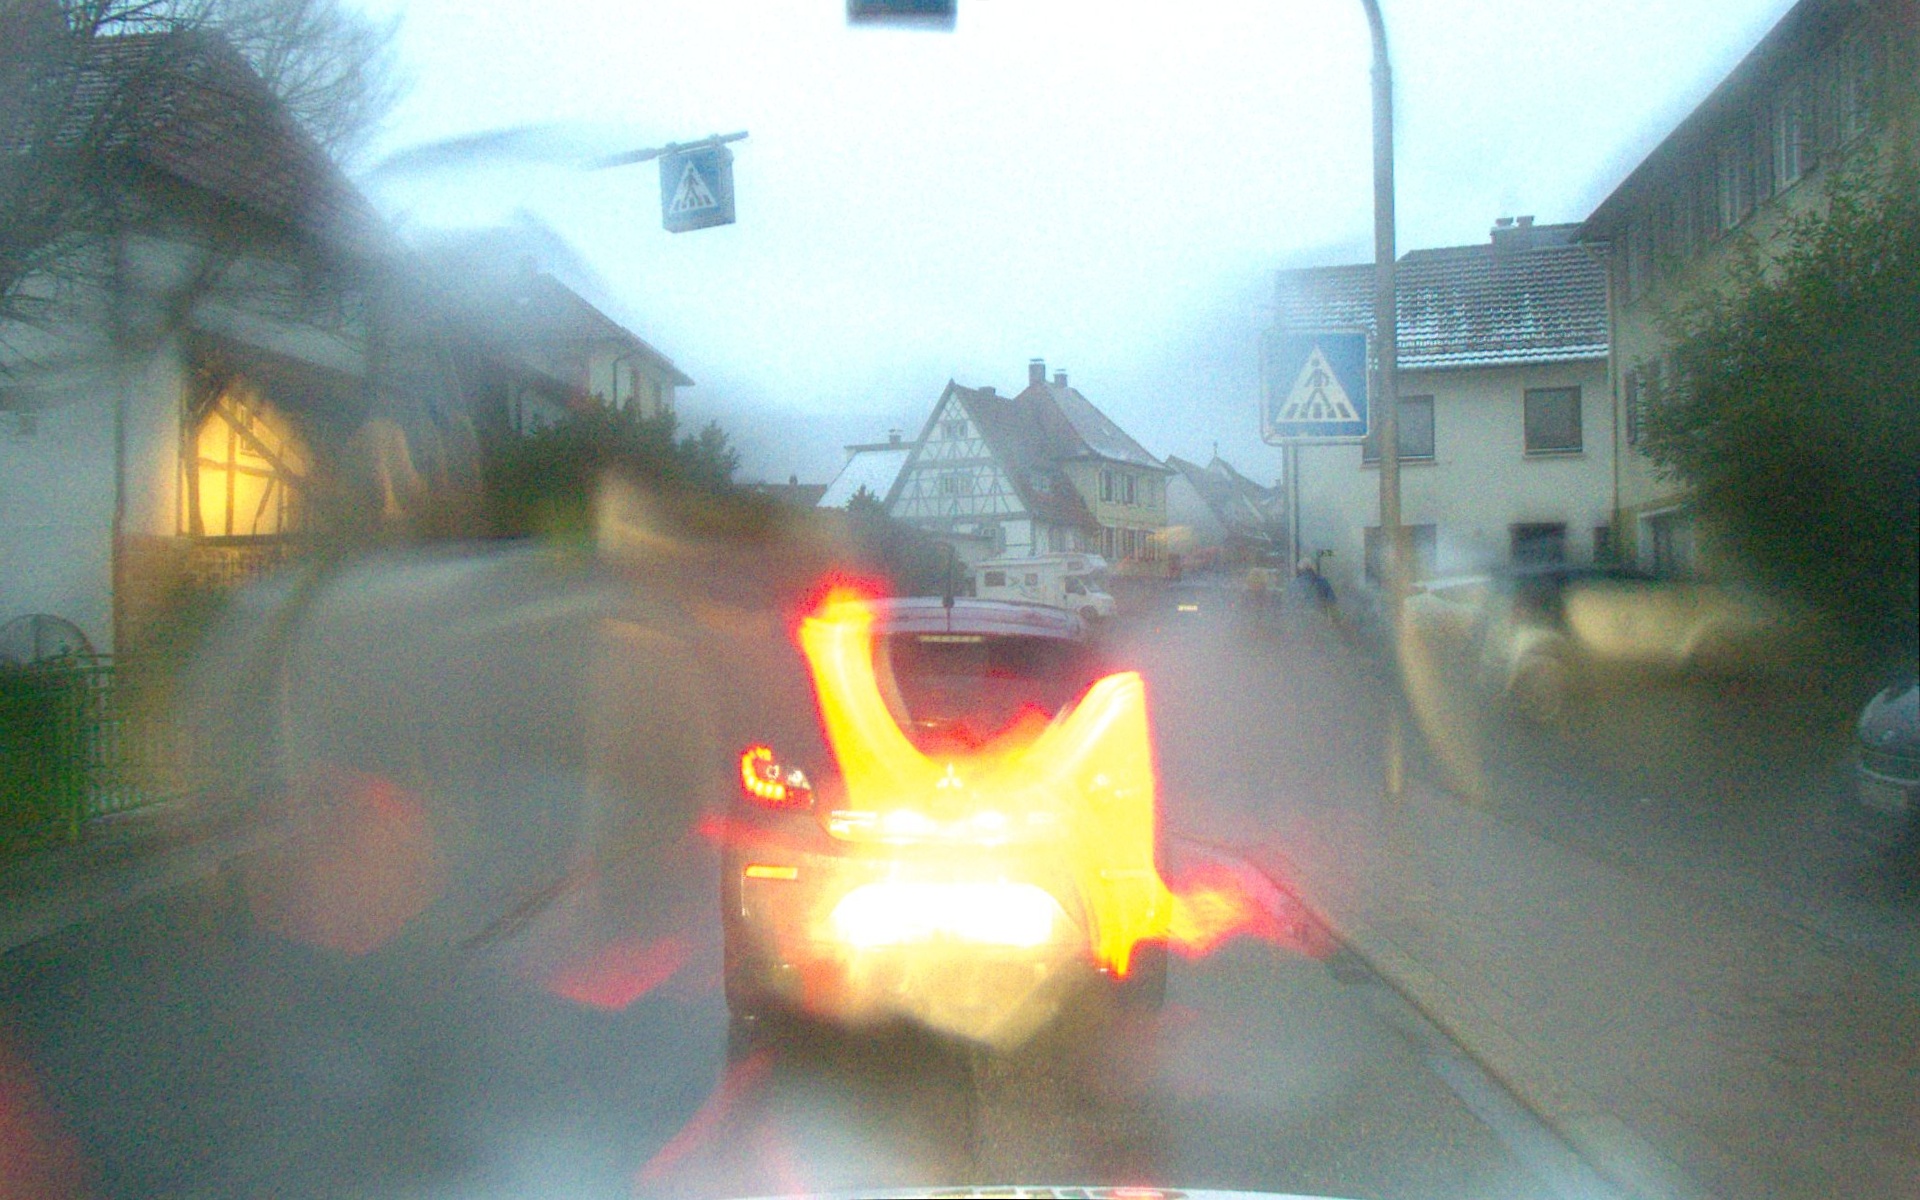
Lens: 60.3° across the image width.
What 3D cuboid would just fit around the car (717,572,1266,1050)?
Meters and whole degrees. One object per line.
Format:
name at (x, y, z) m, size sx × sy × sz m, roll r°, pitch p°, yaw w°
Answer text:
car at (-0.059, 0.645, 7.276) m, size 1.760 × 1.502 × 3.996 m, roll 0°, pitch 1°, yaw -5°

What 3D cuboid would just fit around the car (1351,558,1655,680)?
car at (7.613, 0.262, 23.497) m, size 3.817 × 1.499 × 1.752 m, roll -2°, pitch 0°, yaw 9°

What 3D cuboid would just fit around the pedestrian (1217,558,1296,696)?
pedestrian at (3.863, 0.334, 21.481) m, size 0.848 × 1.695 × 0.993 m, roll -4°, pitch 0°, yaw 13°

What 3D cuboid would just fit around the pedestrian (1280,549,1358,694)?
pedestrian at (4.622, 0.268, 21.253) m, size 0.830 × 1.763 × 0.972 m, roll -4°, pitch 0°, yaw 14°

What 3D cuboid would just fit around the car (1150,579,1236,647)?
car at (6.069, 0.297, 42.651) m, size 1.808 × 1.665 × 4.339 m, roll 0°, pitch 0°, yaw 13°

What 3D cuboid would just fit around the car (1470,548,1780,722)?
car at (6.637, 0.330, 16.715) m, size 2.528 × 1.574 × 1.552 m, roll -2°, pitch 1°, yaw 6°

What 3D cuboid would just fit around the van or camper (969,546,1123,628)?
van or camper at (3.641, -0.541, 70.183) m, size 5.937 × 3.006 × 2.406 m, roll -4°, pitch -1°, yaw 22°

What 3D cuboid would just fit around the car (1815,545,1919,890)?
car at (5.511, 0.451, 7.304) m, size 2.705 × 1.499 × 1.428 m, roll -2°, pitch 0°, yaw 6°

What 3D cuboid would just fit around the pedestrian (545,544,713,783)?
pedestrian at (-2.596, 0.481, 13.060) m, size 0.861 × 1.765 × 0.956 m, roll -4°, pitch 0°, yaw 14°

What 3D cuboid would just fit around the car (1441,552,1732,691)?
car at (7.533, 0.255, 20.103) m, size 2.999 × 1.499 × 1.551 m, roll -2°, pitch 0°, yaw 9°
